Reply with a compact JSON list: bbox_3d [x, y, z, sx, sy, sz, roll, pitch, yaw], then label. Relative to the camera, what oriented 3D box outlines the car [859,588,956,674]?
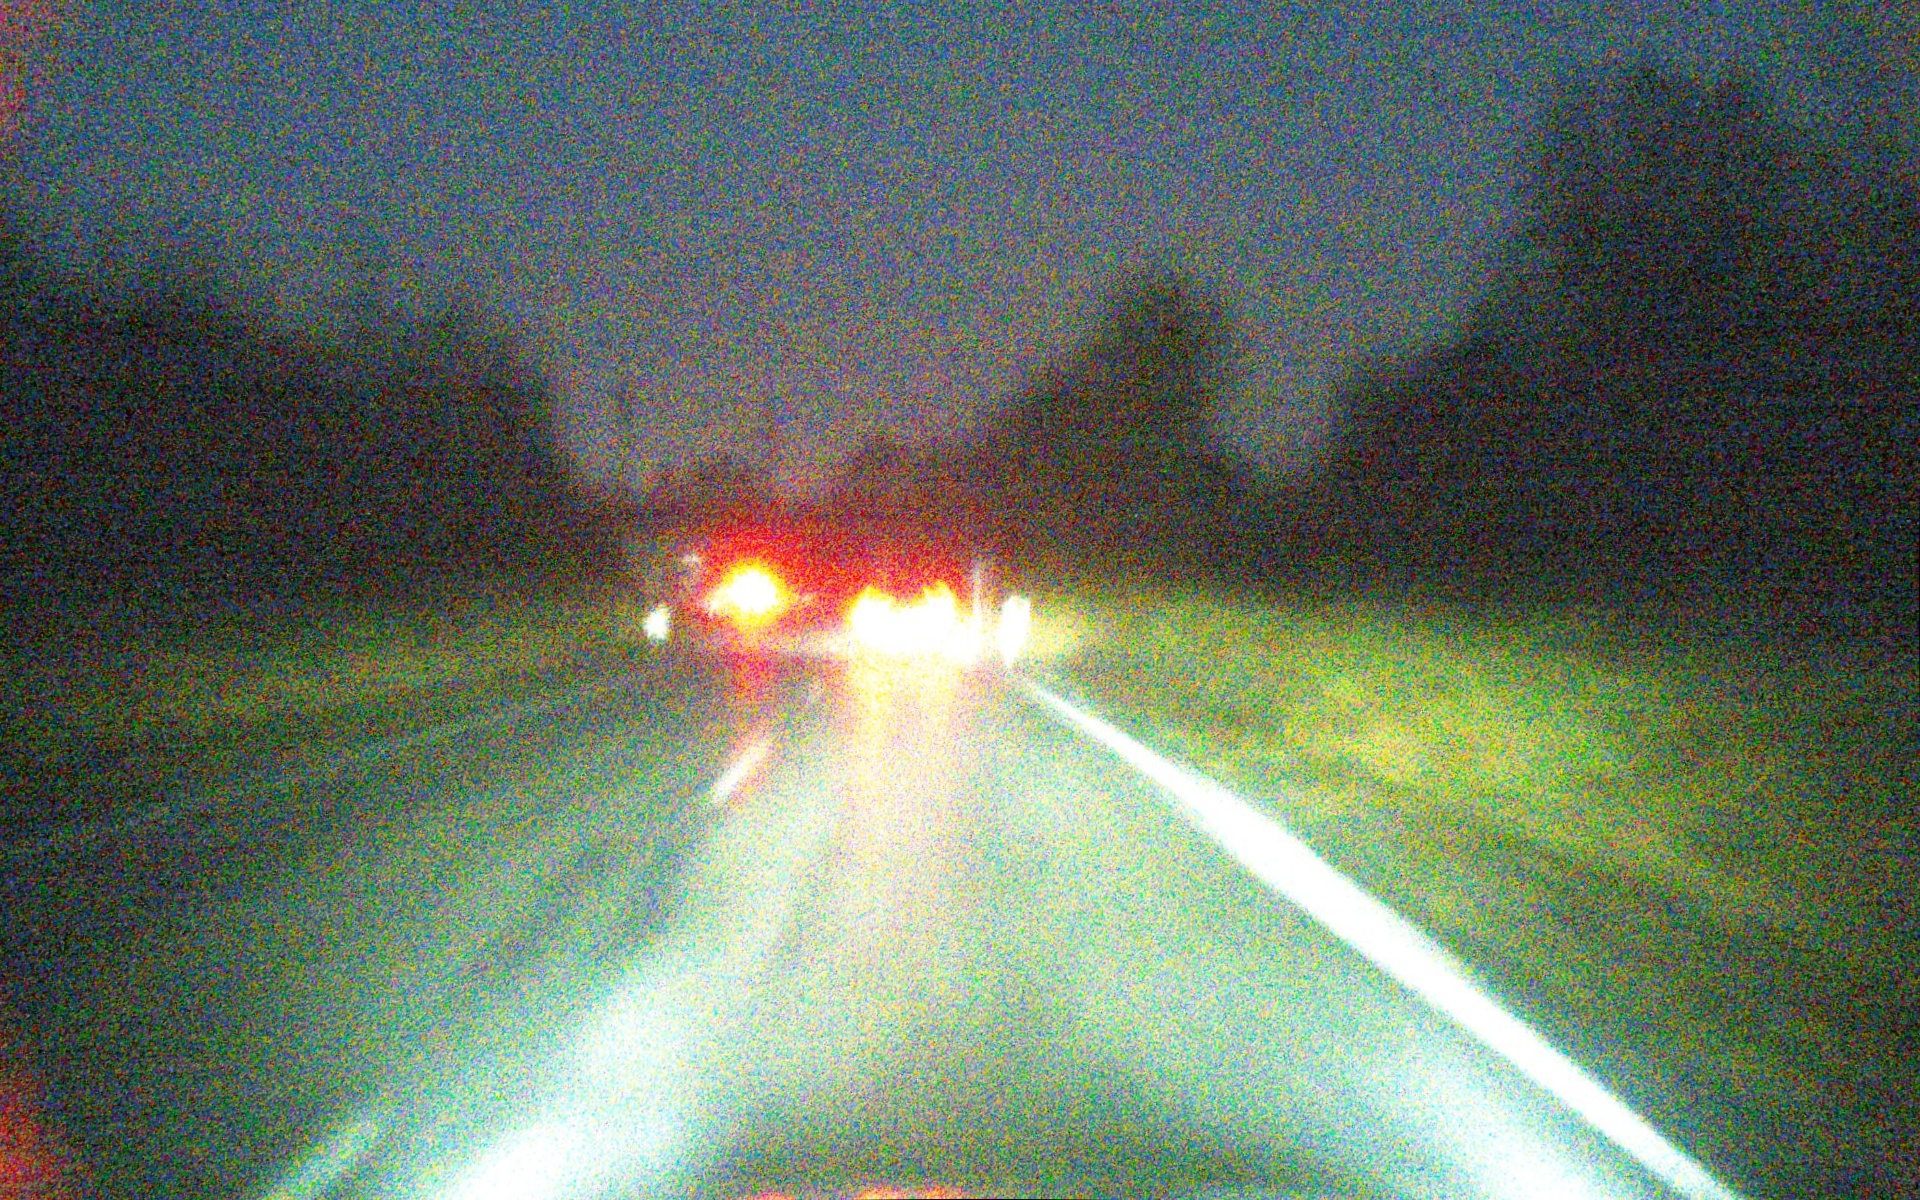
[{"bbox_3d":[-1.189,0.611,36.032,1.954,1.656,4.982,0,1,-3],"label":"car"}]
